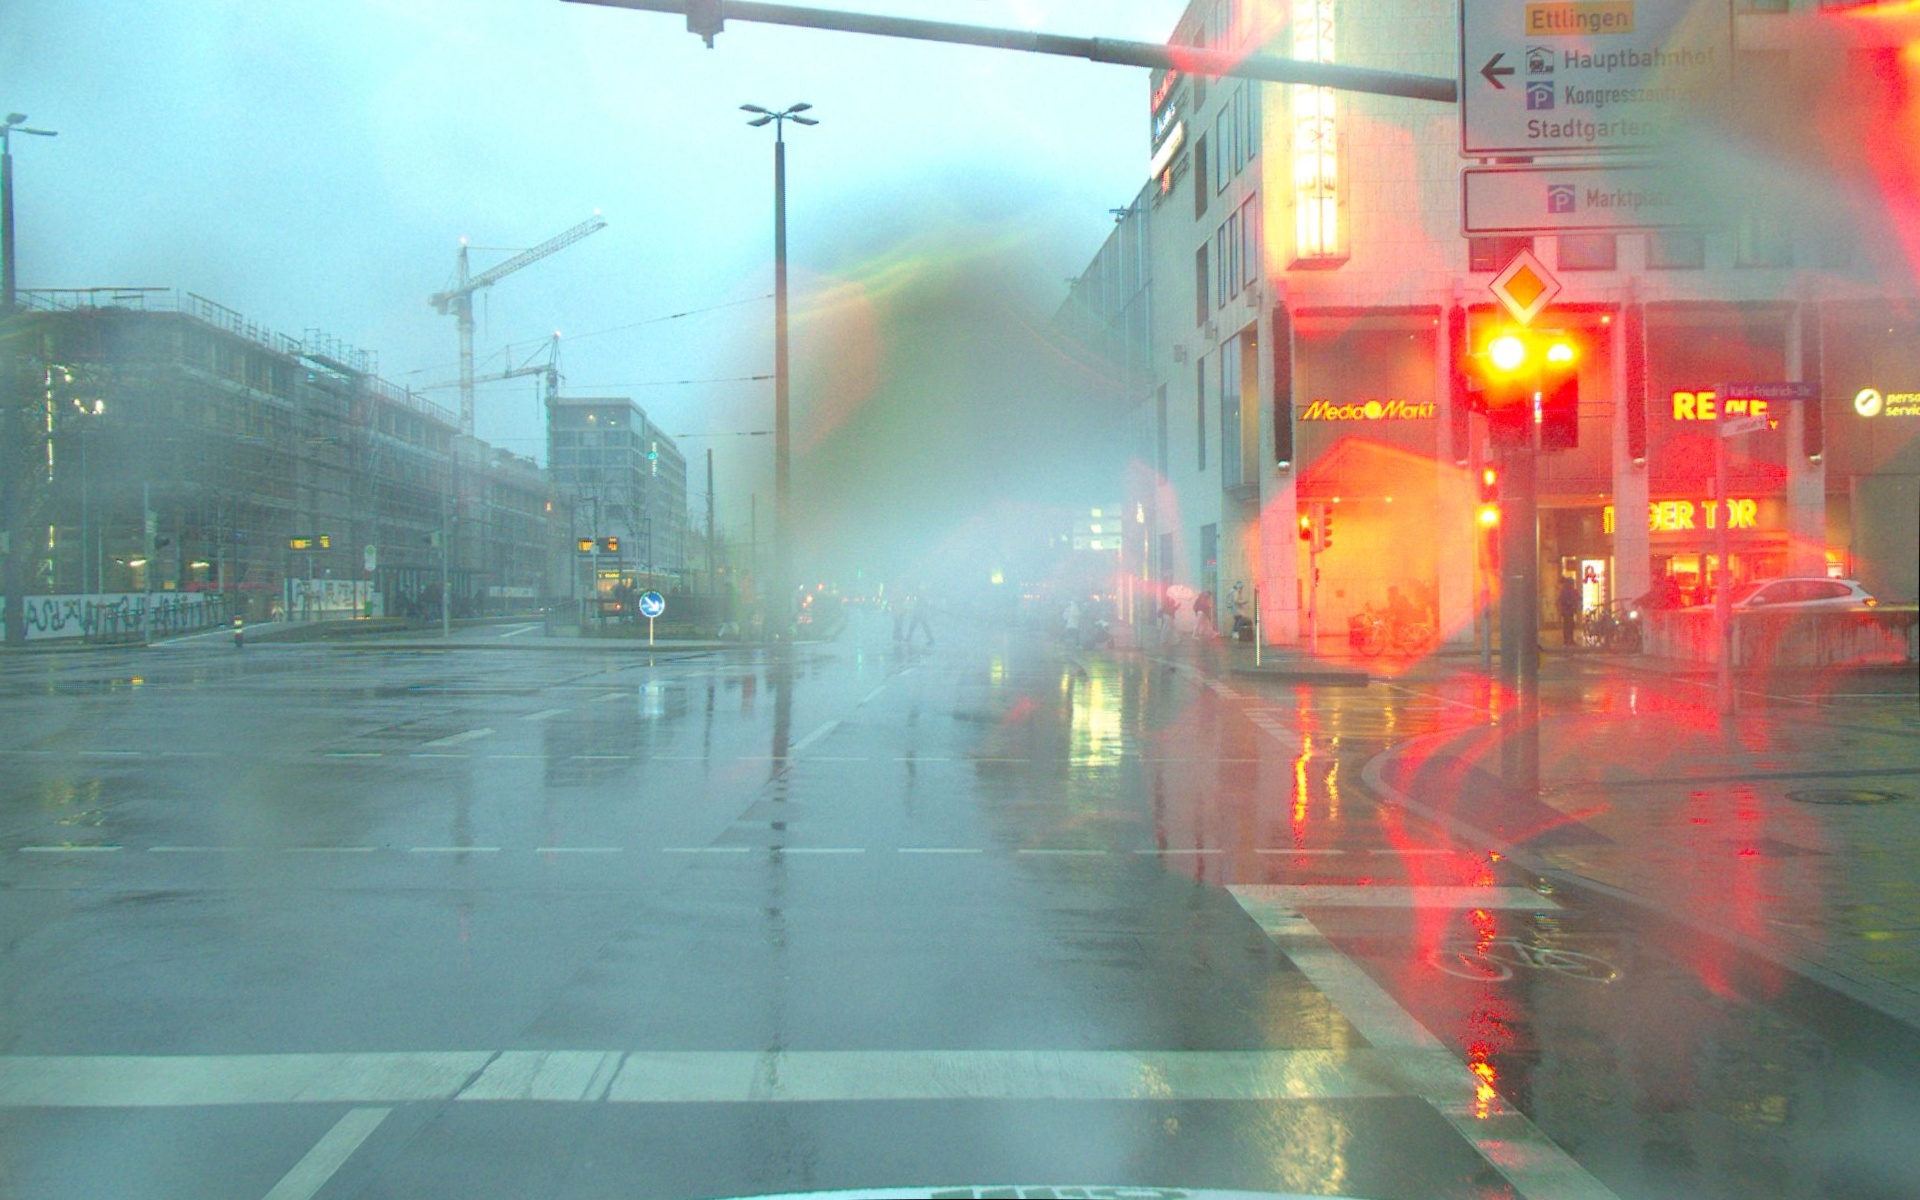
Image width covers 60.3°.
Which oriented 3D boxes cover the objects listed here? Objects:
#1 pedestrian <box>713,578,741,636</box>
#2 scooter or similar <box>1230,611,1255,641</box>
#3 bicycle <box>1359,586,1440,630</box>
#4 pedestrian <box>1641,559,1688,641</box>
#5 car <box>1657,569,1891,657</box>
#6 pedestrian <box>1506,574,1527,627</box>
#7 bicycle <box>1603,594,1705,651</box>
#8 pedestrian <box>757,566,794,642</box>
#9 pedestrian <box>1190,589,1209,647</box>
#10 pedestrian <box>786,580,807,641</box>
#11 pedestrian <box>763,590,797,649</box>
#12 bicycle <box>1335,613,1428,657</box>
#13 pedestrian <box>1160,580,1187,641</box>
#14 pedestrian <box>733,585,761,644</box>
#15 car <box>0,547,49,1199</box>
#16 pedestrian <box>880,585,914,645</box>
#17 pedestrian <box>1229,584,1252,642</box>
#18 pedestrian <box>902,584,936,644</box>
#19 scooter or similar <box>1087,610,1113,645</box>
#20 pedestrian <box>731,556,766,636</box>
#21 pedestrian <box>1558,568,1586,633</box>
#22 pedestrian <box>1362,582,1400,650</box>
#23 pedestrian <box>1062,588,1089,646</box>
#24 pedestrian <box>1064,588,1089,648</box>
[{"bbox_3d":[-6.706,0.209,47.642,0.692,1.647,0.680,-1,0,0],"label":"pedestrian"},{"bbox_3d":[9.002,0.837,52.772,0.726,0.932,0.400,-1,0,1],"label":"scooter or similar"},{"bbox_3d":[13.800,0.235,51.951,2.378,1.352,0.634,-1,0,-6],"label":"bicycle"},{"bbox_3d":[14.109,0.000,33.130,0.764,1.623,0.613,-1,0,14],"label":"pedestrian"},{"bbox_3d":[17.573,0.266,35.837,4.213,1.792,1.707,-1,0,2],"label":"car"},{"bbox_3d":[18.376,0.009,54.623,0.526,1.748,0.500,-1,0,37],"label":"pedestrian"},{"bbox_3d":[13.910,0.444,33.185,1.806,1.112,0.618,-1,0,14],"label":"bicycle"},{"bbox_3d":[-5.053,0.100,45.332,0.770,2.049,0.604,-1,0,-39],"label":"pedestrian"},{"bbox_3d":[7.505,0.562,51.880,0.501,1.791,0.374,-1,0,-1],"label":"pedestrian"},{"bbox_3d":[-4.823,0.303,48.810,0.607,1.776,0.612,-1,0,-6],"label":"pedestrian"},{"bbox_3d":[-5.043,0.548,46.351,0.802,1.647,0.537,-1,0,37],"label":"pedestrian"},{"bbox_3d":[10.021,0.829,39.393,2.083,1.009,0.542,1,-1,5],"label":"bicycle"},{"bbox_3d":[6.298,0.301,48.856,0.688,1.791,0.667,-1,0,-1],"label":"pedestrian"},{"bbox_3d":[-5.943,0.405,46.214,0.692,1.647,0.612,-1,0,-3],"label":"pedestrian"},{"bbox_3d":[-2.979,0.675,1.342,1.871,1.547,4.922,-1,0,-2],"label":"car"},{"bbox_3d":[-1.813,0.423,47.645,0.813,1.709,0.620,-1,0,13],"label":"pedestrian"},{"bbox_3d":[8.622,0.397,50.858,0.605,1.791,0.482,-1,0,-1],"label":"pedestrian"},{"bbox_3d":[-1.198,0.404,48.319,0.825,1.718,0.678,-1,0,14],"label":"pedestrian"},{"bbox_3d":[4.140,0.805,48.840,0.725,1.011,0.401,-1,0,11],"label":"scooter or similar"},{"bbox_3d":[-5.686,-0.104,44.481,0.682,2.124,0.604,-1,0,-41],"label":"pedestrian"},{"bbox_3d":[16.077,0.014,43.452,0.526,1.715,0.547,-1,0,37],"label":"pedestrian"},{"bbox_3d":[10.025,0.375,39.397,0.797,1.597,0.537,-1,0,5],"label":"pedestrian"},{"bbox_3d":[3.418,0.497,48.977,0.725,1.696,0.401,-1,0,11],"label":"pedestrian"},{"bbox_3d":[3.509,0.526,49.922,0.688,1.791,0.652,-1,0,-1],"label":"pedestrian"}]
